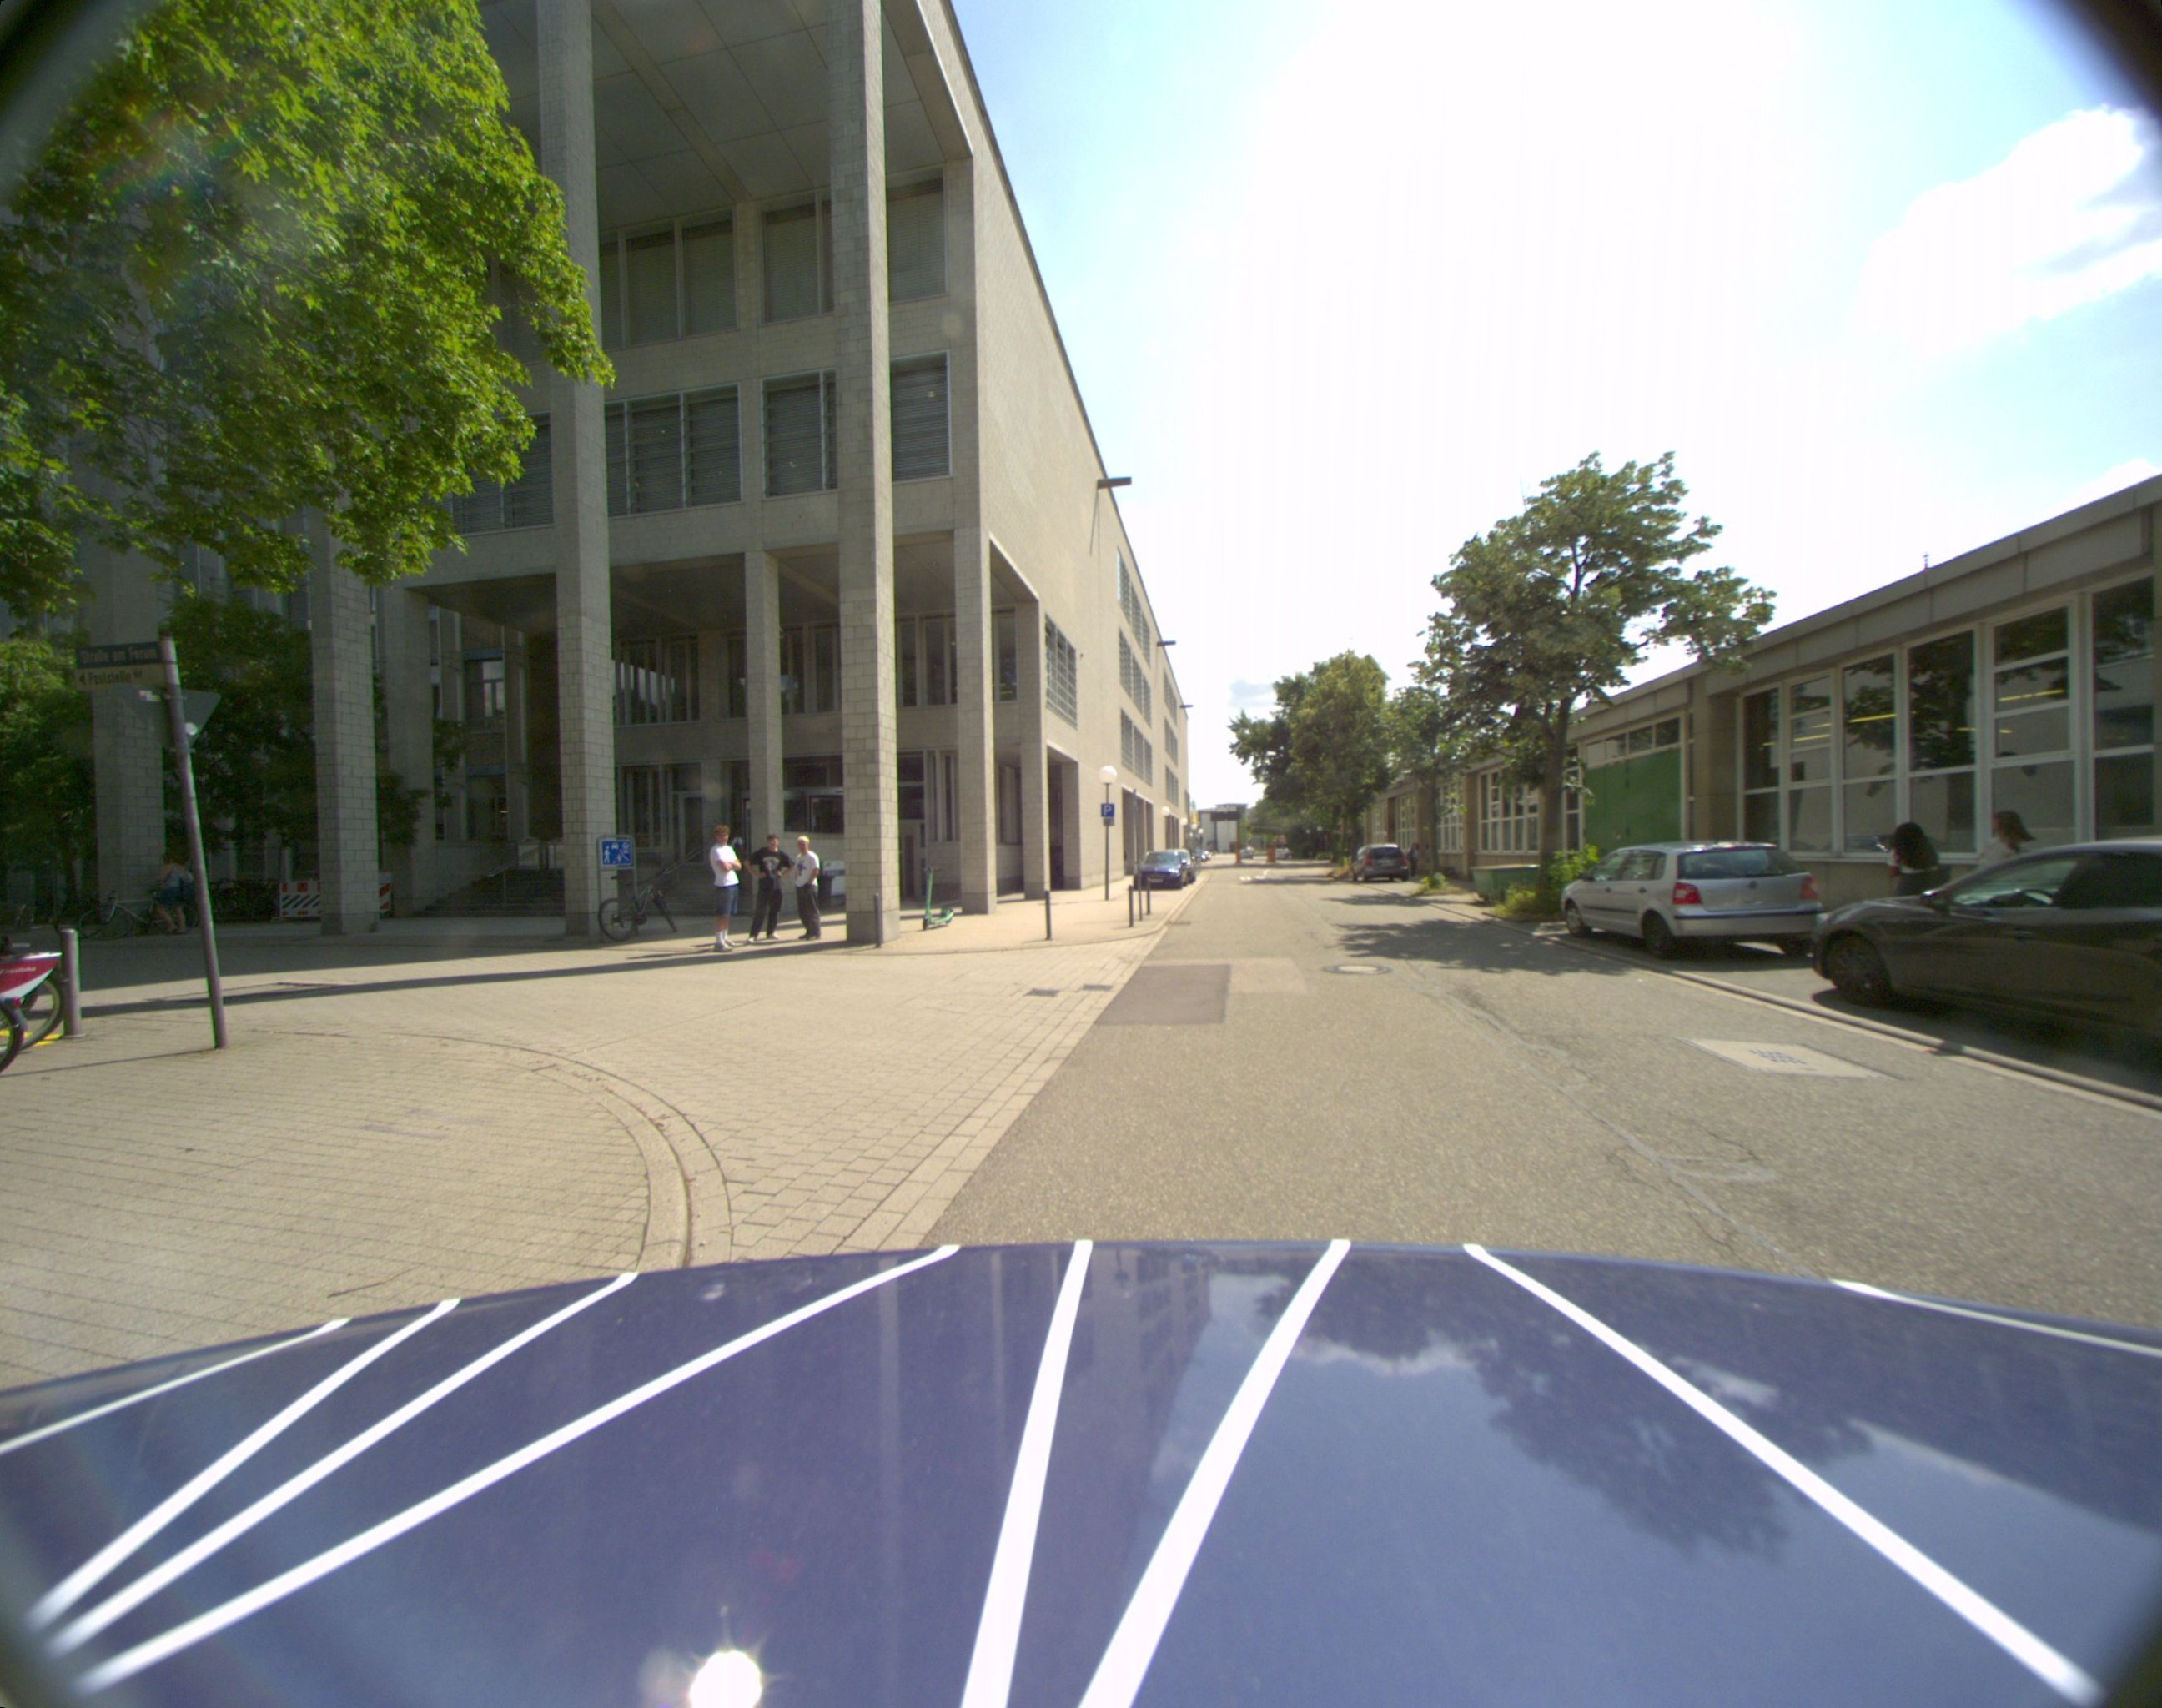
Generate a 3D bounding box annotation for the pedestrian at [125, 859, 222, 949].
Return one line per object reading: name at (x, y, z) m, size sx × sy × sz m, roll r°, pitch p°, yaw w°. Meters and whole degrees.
pedestrian at (-18.482, 0.993, 15.492) m, size 0.937 × 1.730 × 0.748 m, roll -2°, pitch 1°, yaw -8°

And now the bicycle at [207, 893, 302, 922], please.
bicycle at (-23.137, 1.496, 21.278) m, size 1.988 × 0.755 × 0.644 m, roll -1°, pitch 0°, yaw 1°

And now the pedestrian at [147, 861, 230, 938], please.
pedestrian at (-21.080, 1.047, 17.958) m, size 0.937 × 1.730 × 0.748 m, roll -2°, pitch 1°, yaw -7°

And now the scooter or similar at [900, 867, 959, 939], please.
scooter or similar at (-2.815, 0.884, 14.271) m, size 0.564 × 1.205 × 1.511 m, roll 1°, pitch 1°, yaw 10°

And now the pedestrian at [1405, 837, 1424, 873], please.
pedestrian at (14.836, 0.039, 33.805) m, size 0.604 × 1.571 × 0.552 m, roll 1°, pitch 1°, yaw 42°

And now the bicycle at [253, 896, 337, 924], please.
bicycle at (-22.848, 1.618, 22.094) m, size 1.987 × 0.755 × 0.644 m, roll -1°, pitch 0°, yaw 9°

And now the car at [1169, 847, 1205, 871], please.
car at (6.283, 0.285, 44.768) m, size 1.841 × 1.390 × 3.881 m, roll 0°, pitch 0°, yaw 11°

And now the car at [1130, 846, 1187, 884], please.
car at (3.087, 0.422, 29.736) m, size 1.841 × 1.390 × 3.881 m, roll 0°, pitch 0°, yaw 11°

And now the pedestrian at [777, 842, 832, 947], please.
pedestrian at (-4.621, 0.660, 12.715) m, size 0.613 × 1.719 × 0.543 m, roll -1°, pitch 1°, yaw 12°

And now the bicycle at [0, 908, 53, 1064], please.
bicycle at (-8.372, 0.981, 5.197) m, size 0.560 × 1.134 × 1.491 m, roll 0°, pitch -1°, yaw 9°

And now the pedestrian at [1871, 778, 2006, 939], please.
pedestrian at (9.682, 0.049, 8.606) m, size 0.601 × 1.718 × 0.797 m, roll -2°, pitch 1°, yaw -4°

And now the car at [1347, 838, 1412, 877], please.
car at (12.645, 0.109, 32.414) m, size 1.802 × 1.440 × 3.679 m, roll -4°, pitch 0°, yaw 11°

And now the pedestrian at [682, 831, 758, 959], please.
pedestrian at (-5.512, 0.605, 11.639) m, size 0.686 × 1.880 × 0.686 m, roll -2°, pitch 2°, yaw 8°

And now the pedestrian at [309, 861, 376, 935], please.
pedestrian at (-18.012, 1.067, 18.544) m, size 0.935 × 1.730 × 0.750 m, roll -2°, pitch 1°, yaw 20°

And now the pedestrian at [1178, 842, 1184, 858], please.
pedestrian at (10.161, -0.436, 77.176) m, size 0.440 × 1.620 × 0.570 m, roll 1°, pitch 1°, yaw 12°

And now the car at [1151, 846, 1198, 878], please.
car at (4.362, 0.343, 35.069) m, size 1.841 × 1.390 × 3.881 m, roll 0°, pitch 0°, yaw 11°

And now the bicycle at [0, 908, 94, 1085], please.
bicycle at (-7.513, 0.975, 4.768) m, size 0.560 × 1.135 × 1.490 m, roll 0°, pitch 2°, yaw 9°

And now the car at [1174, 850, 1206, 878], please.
car at (7.141, 0.643, 49.695) m, size 1.797 × 1.691 × 4.004 m, roll 1°, pitch 0°, yaw 11°

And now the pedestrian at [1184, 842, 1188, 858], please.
pedestrian at (10.637, -0.409, 77.061) m, size 0.382 × 1.620 × 0.520 m, roll 1°, pitch 1°, yaw 12°

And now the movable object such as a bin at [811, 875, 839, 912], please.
movable object such as a bin at (-6.829, 1.053, 20.283) m, size 0.512 × 0.944 × 0.512 m, roll 1°, pitch 1°, yaw 9°

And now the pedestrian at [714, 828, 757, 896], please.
pedestrian at (-8.964, 0.197, 19.739) m, size 0.689 × 1.724 × 0.686 m, roll -2°, pitch 1°, yaw 8°

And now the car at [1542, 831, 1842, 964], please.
car at (8.186, 0.494, 10.667) m, size 1.632 × 1.440 × 3.755 m, roll -4°, pitch 0°, yaw 11°

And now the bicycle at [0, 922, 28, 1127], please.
bicycle at (-7.025, 1.007, 3.907) m, size 0.604 × 1.135 × 1.790 m, roll 2°, pitch 2°, yaw 44°

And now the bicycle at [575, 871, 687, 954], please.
bicycle at (-7.661, 0.961, 13.050) m, size 0.531 × 1.235 × 1.831 m, roll -1°, pitch 2°, yaw 10°

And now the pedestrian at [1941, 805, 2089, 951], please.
pedestrian at (10.350, 0.253, 8.449) m, size 0.664 × 1.533 × 0.797 m, roll -2°, pitch 1°, yaw -4°

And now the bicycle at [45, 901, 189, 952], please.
bicycle at (-19.859, 1.471, 15.699) m, size 0.447 × 0.894 × 1.780 m, roll -2°, pitch 0°, yaw 30°

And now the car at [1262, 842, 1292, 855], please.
car at (26.046, -0.699, 101.054) m, size 3.671 × 1.440 × 1.806 m, roll -4°, pitch 0°, yaw 10°

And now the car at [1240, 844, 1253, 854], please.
car at (26.470, -0.782, 121.602) m, size 1.802 × 1.440 × 3.679 m, roll -4°, pitch 0°, yaw 11°

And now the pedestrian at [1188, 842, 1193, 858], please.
pedestrian at (11.074, -0.394, 76.965) m, size 0.382 × 1.620 × 0.520 m, roll 1°, pitch 1°, yaw 12°

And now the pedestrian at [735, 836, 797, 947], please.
pedestrian at (-5.324, 0.603, 12.824) m, size 0.811 × 1.787 × 0.618 m, roll -2°, pitch 2°, yaw -32°

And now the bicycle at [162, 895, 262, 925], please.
bicycle at (-23.440, 1.499, 20.512) m, size 1.988 × 0.755 × 0.644 m, roll -1°, pitch 0°, yaw 1°

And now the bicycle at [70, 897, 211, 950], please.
bicycle at (-19.059, 1.387, 15.457) m, size 0.336 × 0.894 × 1.778 m, roll -2°, pitch 1°, yaw 17°

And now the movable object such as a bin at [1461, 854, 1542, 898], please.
movable object such as a bin at (10.484, 0.542, 19.051) m, size 1.294 × 0.979 × 1.697 m, roll -4°, pitch -1°, yaw 12°

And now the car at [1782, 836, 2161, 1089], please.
car at (7.256, 0.613, 5.071) m, size 1.728 × 1.427 × 4.293 m, roll -3°, pitch 0°, yaw 11°

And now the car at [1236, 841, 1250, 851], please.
car at (27.473, -1.338, 128.897) m, size 1.803 × 1.440 × 3.677 m, roll -4°, pitch 0°, yaw 4°

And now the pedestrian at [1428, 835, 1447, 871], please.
pedestrian at (15.759, -0.028, 33.577) m, size 0.605 × 1.571 × 0.551 m, roll 0°, pitch 1°, yaw 9°
